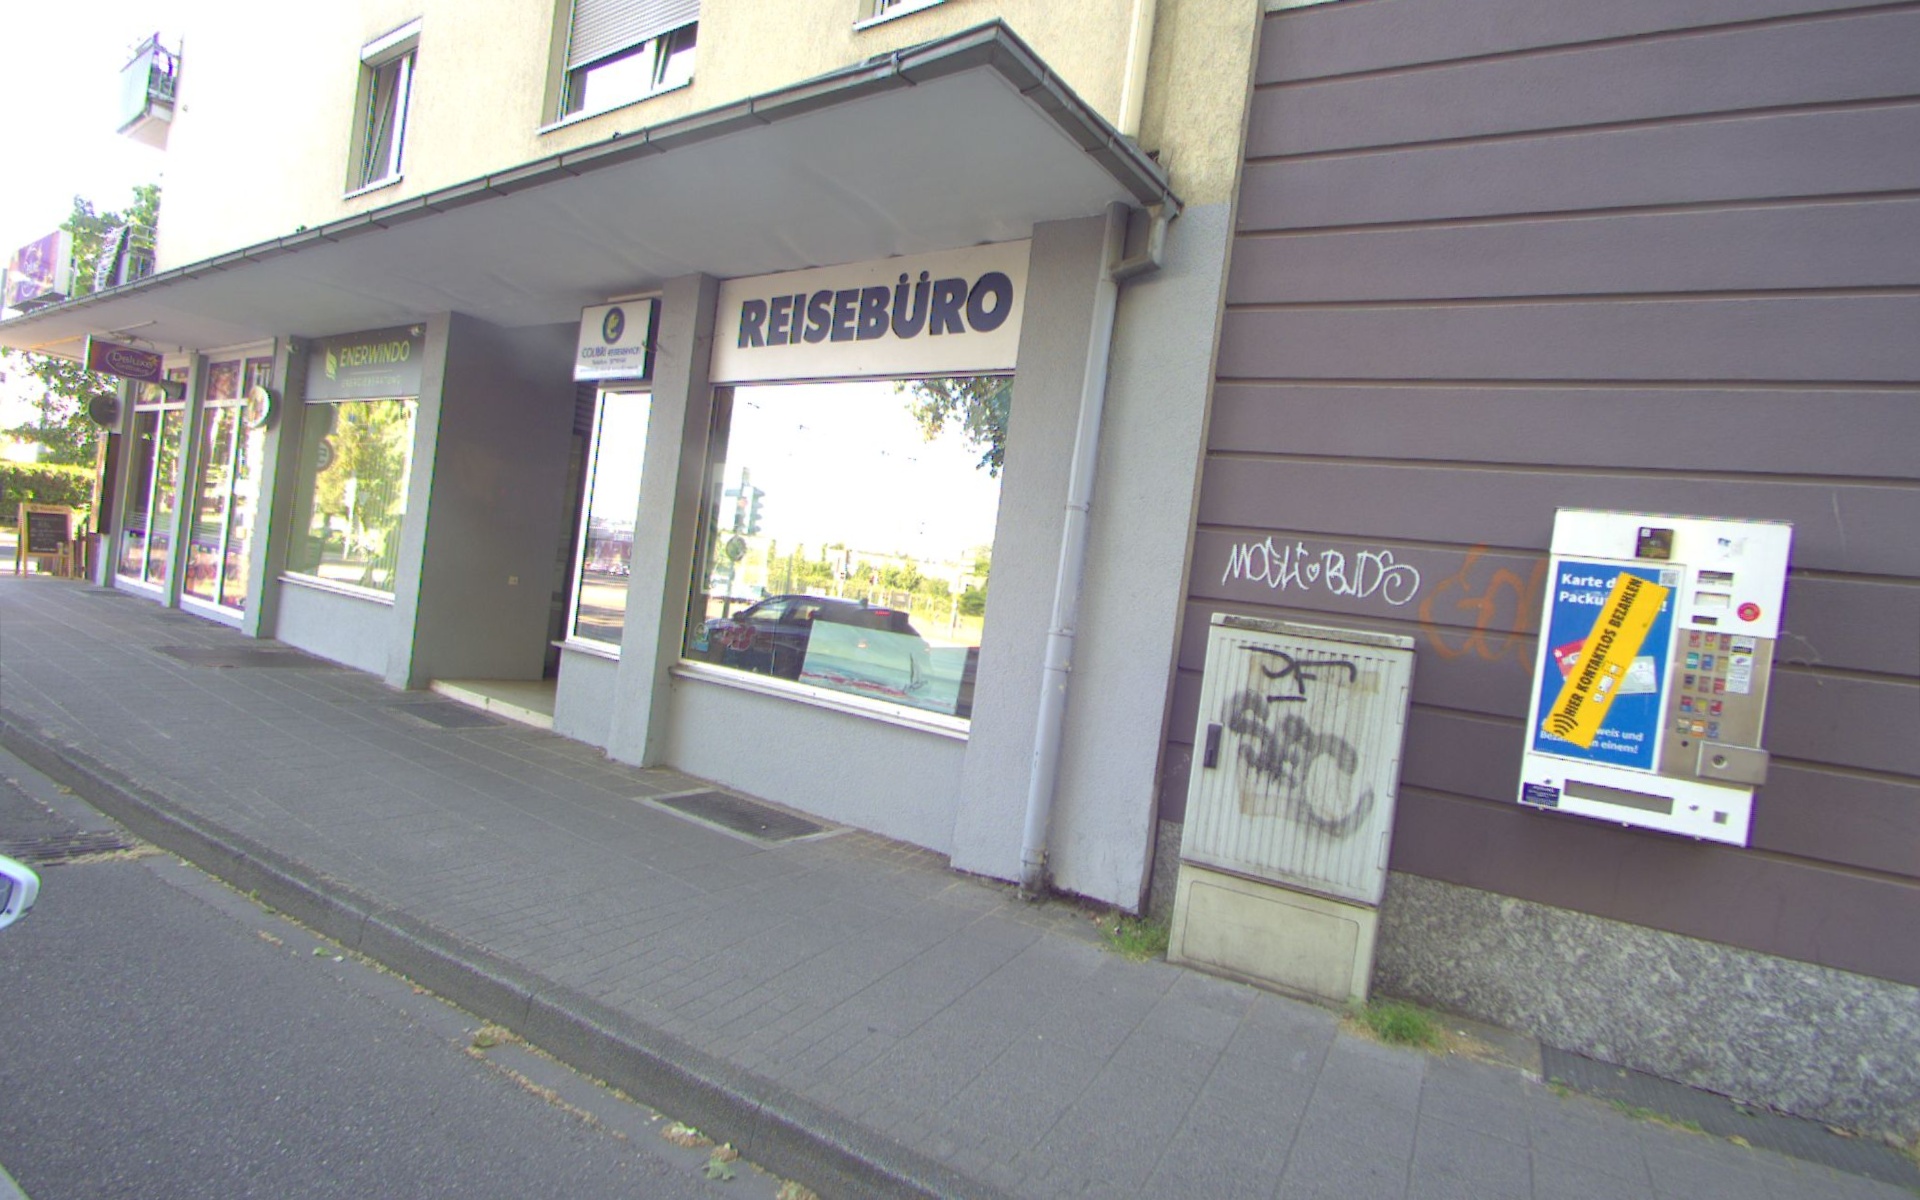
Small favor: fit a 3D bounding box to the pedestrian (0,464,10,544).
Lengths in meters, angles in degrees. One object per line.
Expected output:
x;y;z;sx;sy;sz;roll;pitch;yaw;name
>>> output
-18.921;-1.741;19.404;0.630;1.841;0.738;8;-1;-38;pedestrian
